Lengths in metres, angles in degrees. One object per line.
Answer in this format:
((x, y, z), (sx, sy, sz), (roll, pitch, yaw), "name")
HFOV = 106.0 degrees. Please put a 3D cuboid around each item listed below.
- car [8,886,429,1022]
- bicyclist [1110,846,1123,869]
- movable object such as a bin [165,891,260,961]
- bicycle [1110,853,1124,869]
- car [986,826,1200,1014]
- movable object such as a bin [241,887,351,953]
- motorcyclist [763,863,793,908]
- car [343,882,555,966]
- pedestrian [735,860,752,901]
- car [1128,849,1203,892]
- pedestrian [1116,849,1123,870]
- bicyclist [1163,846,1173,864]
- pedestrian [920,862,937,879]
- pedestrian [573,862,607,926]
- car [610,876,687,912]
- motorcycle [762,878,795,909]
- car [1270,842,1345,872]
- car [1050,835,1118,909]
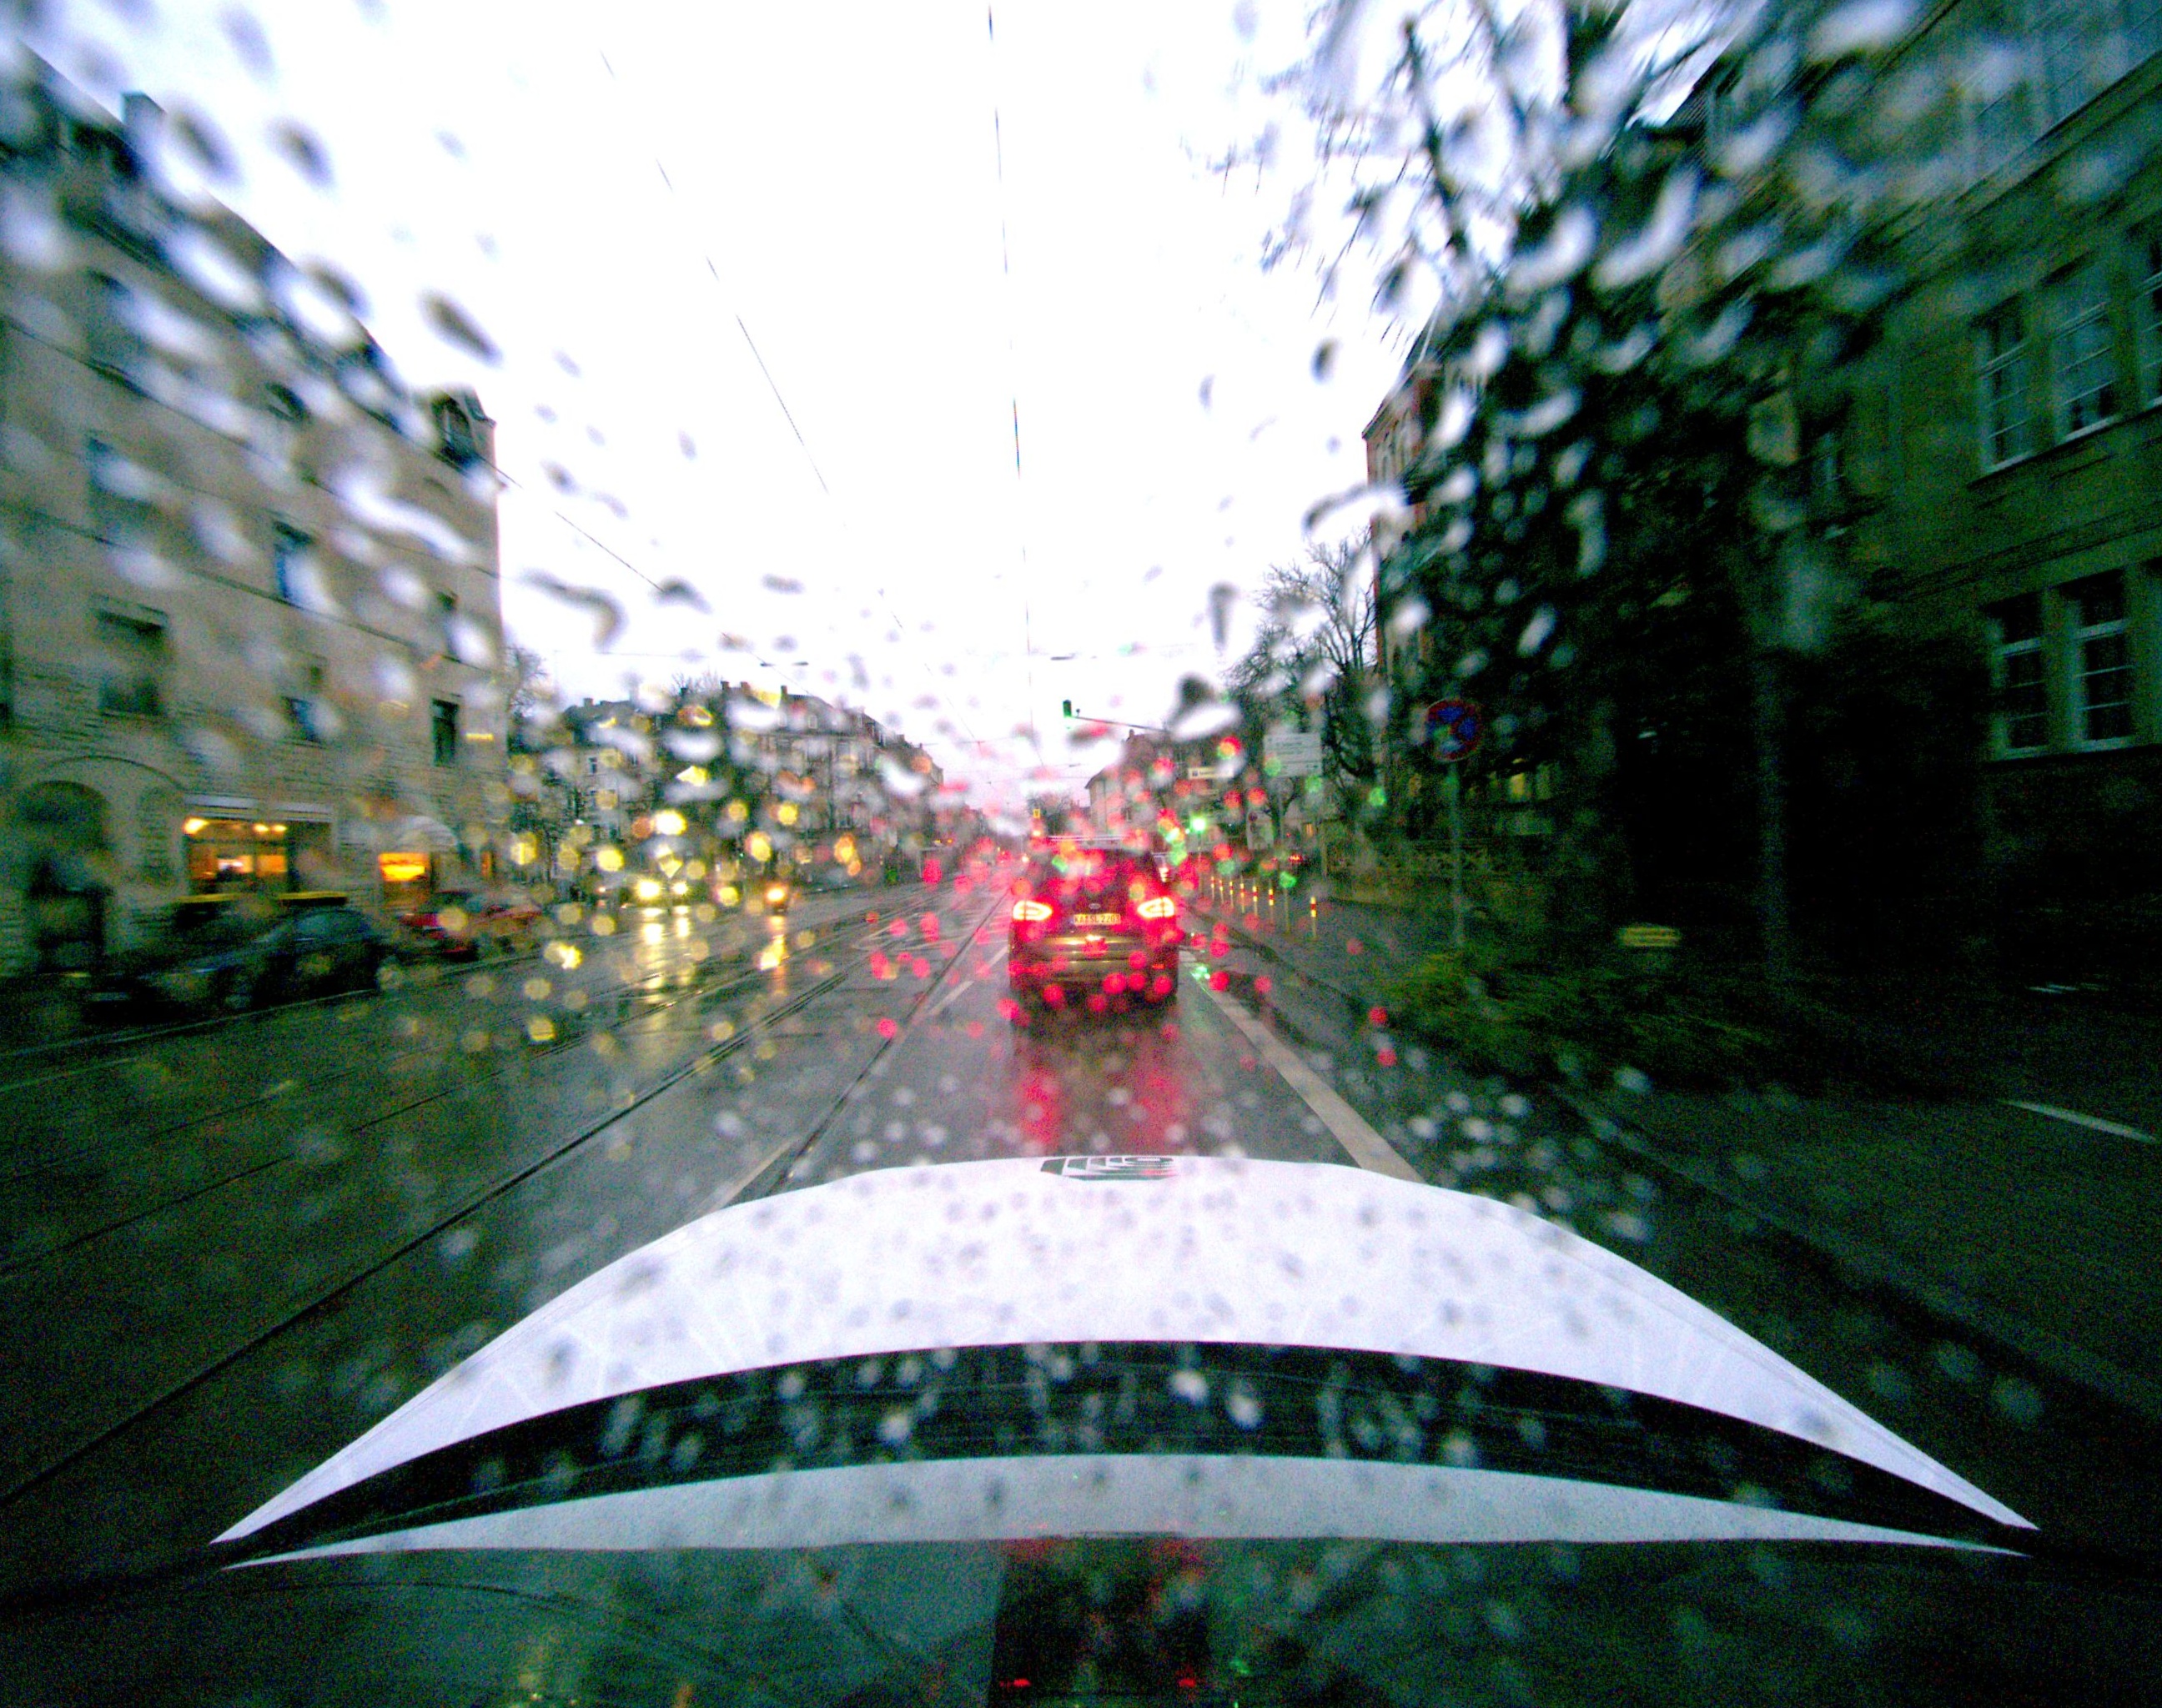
((-13.204, 1.424, 13.067), (1.983, 1.645, 4.622), (2, -1, -5), "car")
((2.575, 0.240, 59.344), (0.716, 1.662, 1.054), (1, -1, -7), "bicyclist")
((-18.634, 1.534, 17.499), (0.897, 1.377, 1.005), (-2, 0, -3), "movable object such as a bin")
((2.593, 0.525, 59.153), (0.716, 1.112, 1.937), (1, 0, -7), "bicycle")
((0.095, 0.653, 10.388), (2.097, 1.816, 4.658), (-1, 0, -1), "car")
((-18.221, 1.506, 18.950), (1.291, 1.367, 1.251), (-2, 0, -3), "movable object such as a bin")
((-10.915, 1.129, 29.395), (0.845, 1.548, 1.010), (-2, 0, -13), "motorcyclist")
((-14.165, 1.501, 18.619), (2.036, 1.552, 4.020), (1, 0, -8), "car")
((-16.936, 1.312, 40.925), (0.707, 2.013, 0.655), (-2, 0, -23), "pedestrian")
((3.613, 0.647, 34.272), (1.692, 1.662, 4.024), (-2, -1, 28), "car")
((3.699, 0.517, 78.545), (0.594, 2.014, 0.631), (-2, -1, 1), "pedestrian")
((9.533, 0.155, 89.407), (0.799, 1.919, 0.712), (-3, 0, 29), "bicyclist")
((-11.076, 1.179, 58.998), (1.045, 1.200, 0.884), (-2, -1, -2), "pedestrian")
((-15.796, 1.285, 26.200), (0.748, 2.014, 0.652), (-3, -1, 33), "pedestrian")
((-22.024, 2.025, 41.448), (3.948, 1.673, 2.035), (-3, 0, 39), "car")
((-10.936, 1.420, 29.527), (0.857, 0.992, 1.910), (-2, 0, -13), "motorcycle")
((11.727, 0.153, 42.068), (4.019, 1.376, 1.651), (-2, 0, -38), "car")
((-0.005, 0.531, 24.974), (1.706, 2.014, 4.292), (-2, -1, -4), "car")
